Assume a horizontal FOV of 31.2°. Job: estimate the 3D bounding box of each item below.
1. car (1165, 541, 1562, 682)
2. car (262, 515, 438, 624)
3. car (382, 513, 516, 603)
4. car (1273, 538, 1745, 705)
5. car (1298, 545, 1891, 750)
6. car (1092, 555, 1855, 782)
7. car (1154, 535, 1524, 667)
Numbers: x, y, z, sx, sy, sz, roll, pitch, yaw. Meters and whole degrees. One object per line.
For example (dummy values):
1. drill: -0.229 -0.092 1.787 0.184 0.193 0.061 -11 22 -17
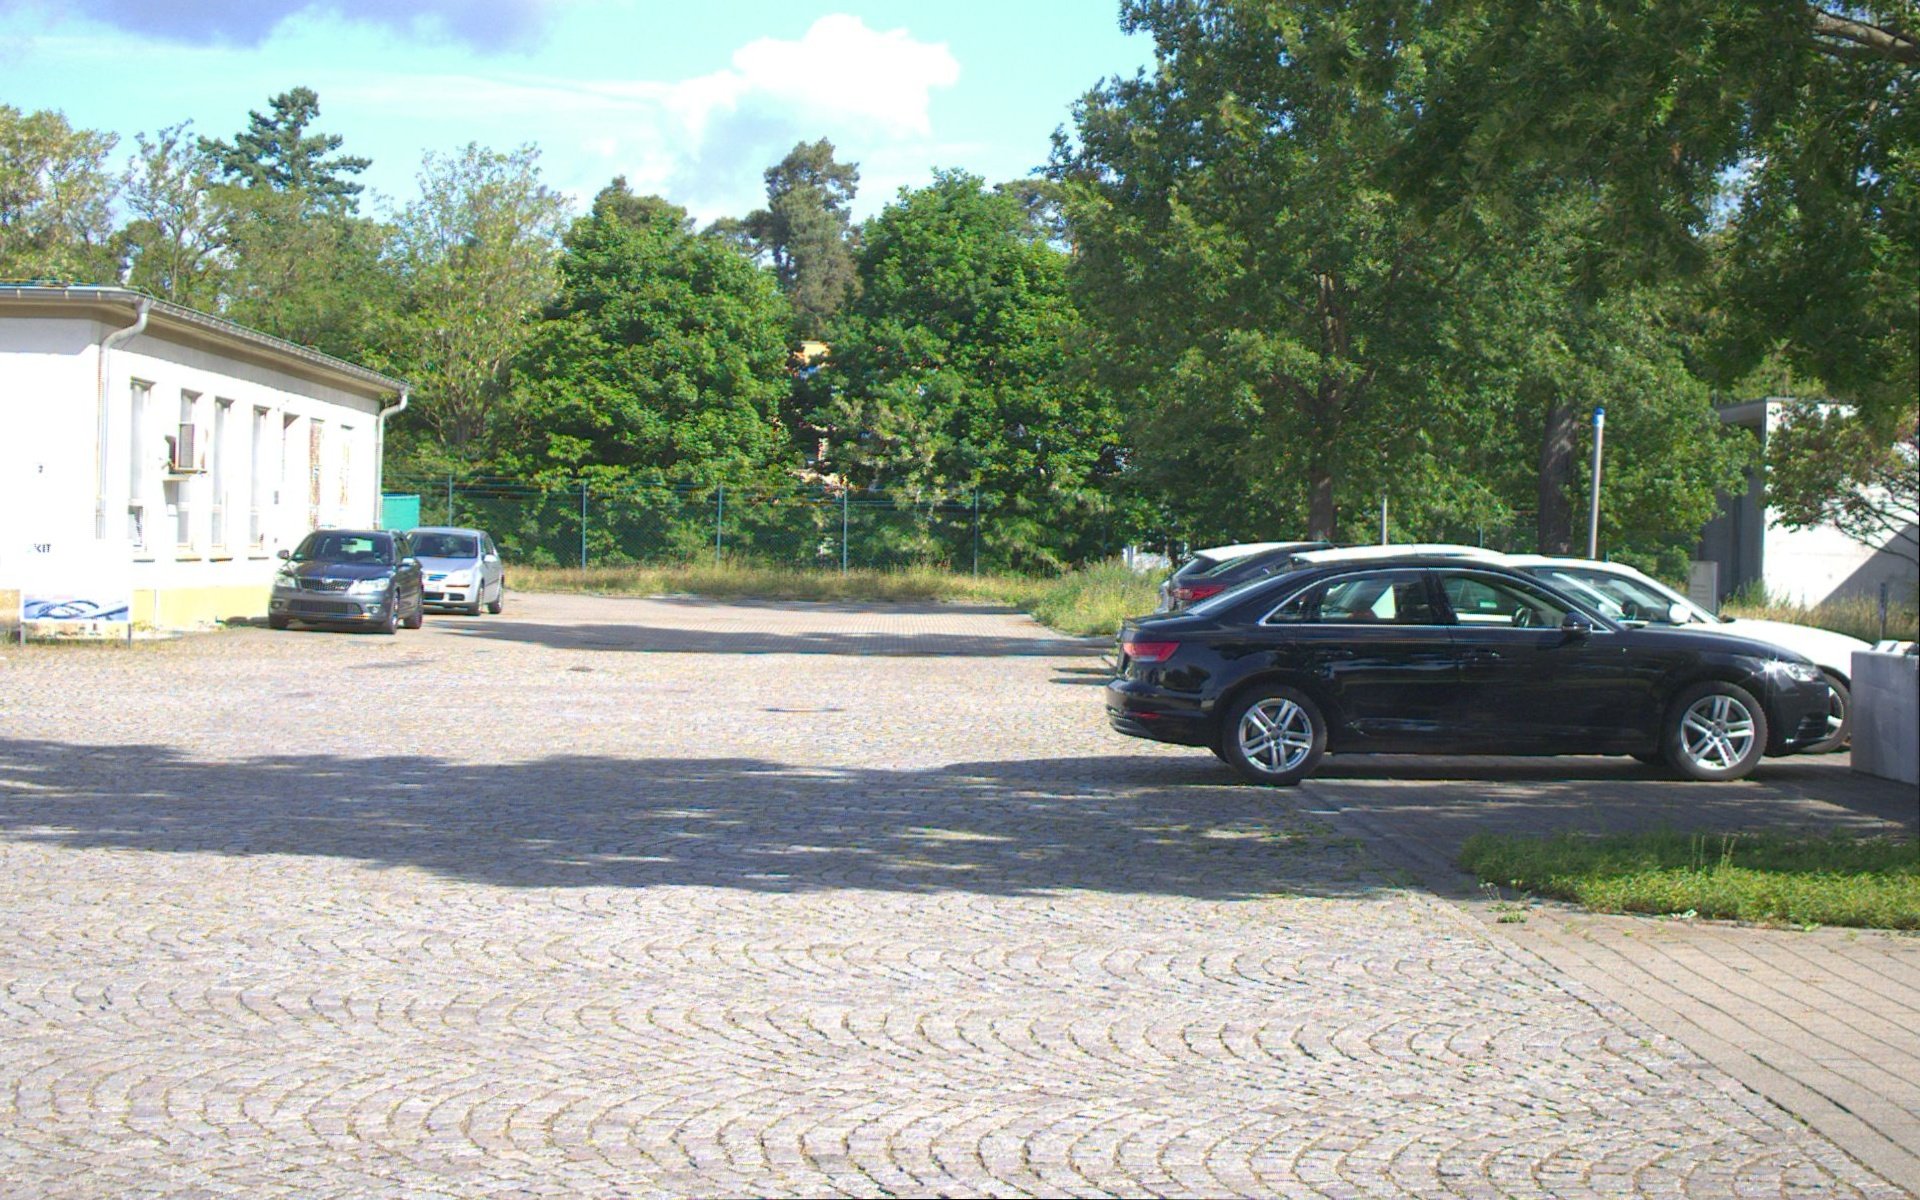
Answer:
1. car: 4.123 0.102 35.536 3.912 1.412 1.692 0 1 0
2. car: -8.657 -0.450 49.087 1.763 1.430 3.992 2 1 0
3. car: -8.737 -0.728 59.041 1.687 1.430 3.987 2 1 0
4. car: 4.816 0.172 30.544 3.912 1.441 1.756 0 1 0
5. car: 4.589 0.323 25.330 4.138 1.455 1.691 0 1 4
6. car: 3.283 0.421 22.588 4.718 1.418 1.757 0 1 -2
7. car: 4.160 -0.006 38.188 3.912 1.430 1.796 0 1 0
